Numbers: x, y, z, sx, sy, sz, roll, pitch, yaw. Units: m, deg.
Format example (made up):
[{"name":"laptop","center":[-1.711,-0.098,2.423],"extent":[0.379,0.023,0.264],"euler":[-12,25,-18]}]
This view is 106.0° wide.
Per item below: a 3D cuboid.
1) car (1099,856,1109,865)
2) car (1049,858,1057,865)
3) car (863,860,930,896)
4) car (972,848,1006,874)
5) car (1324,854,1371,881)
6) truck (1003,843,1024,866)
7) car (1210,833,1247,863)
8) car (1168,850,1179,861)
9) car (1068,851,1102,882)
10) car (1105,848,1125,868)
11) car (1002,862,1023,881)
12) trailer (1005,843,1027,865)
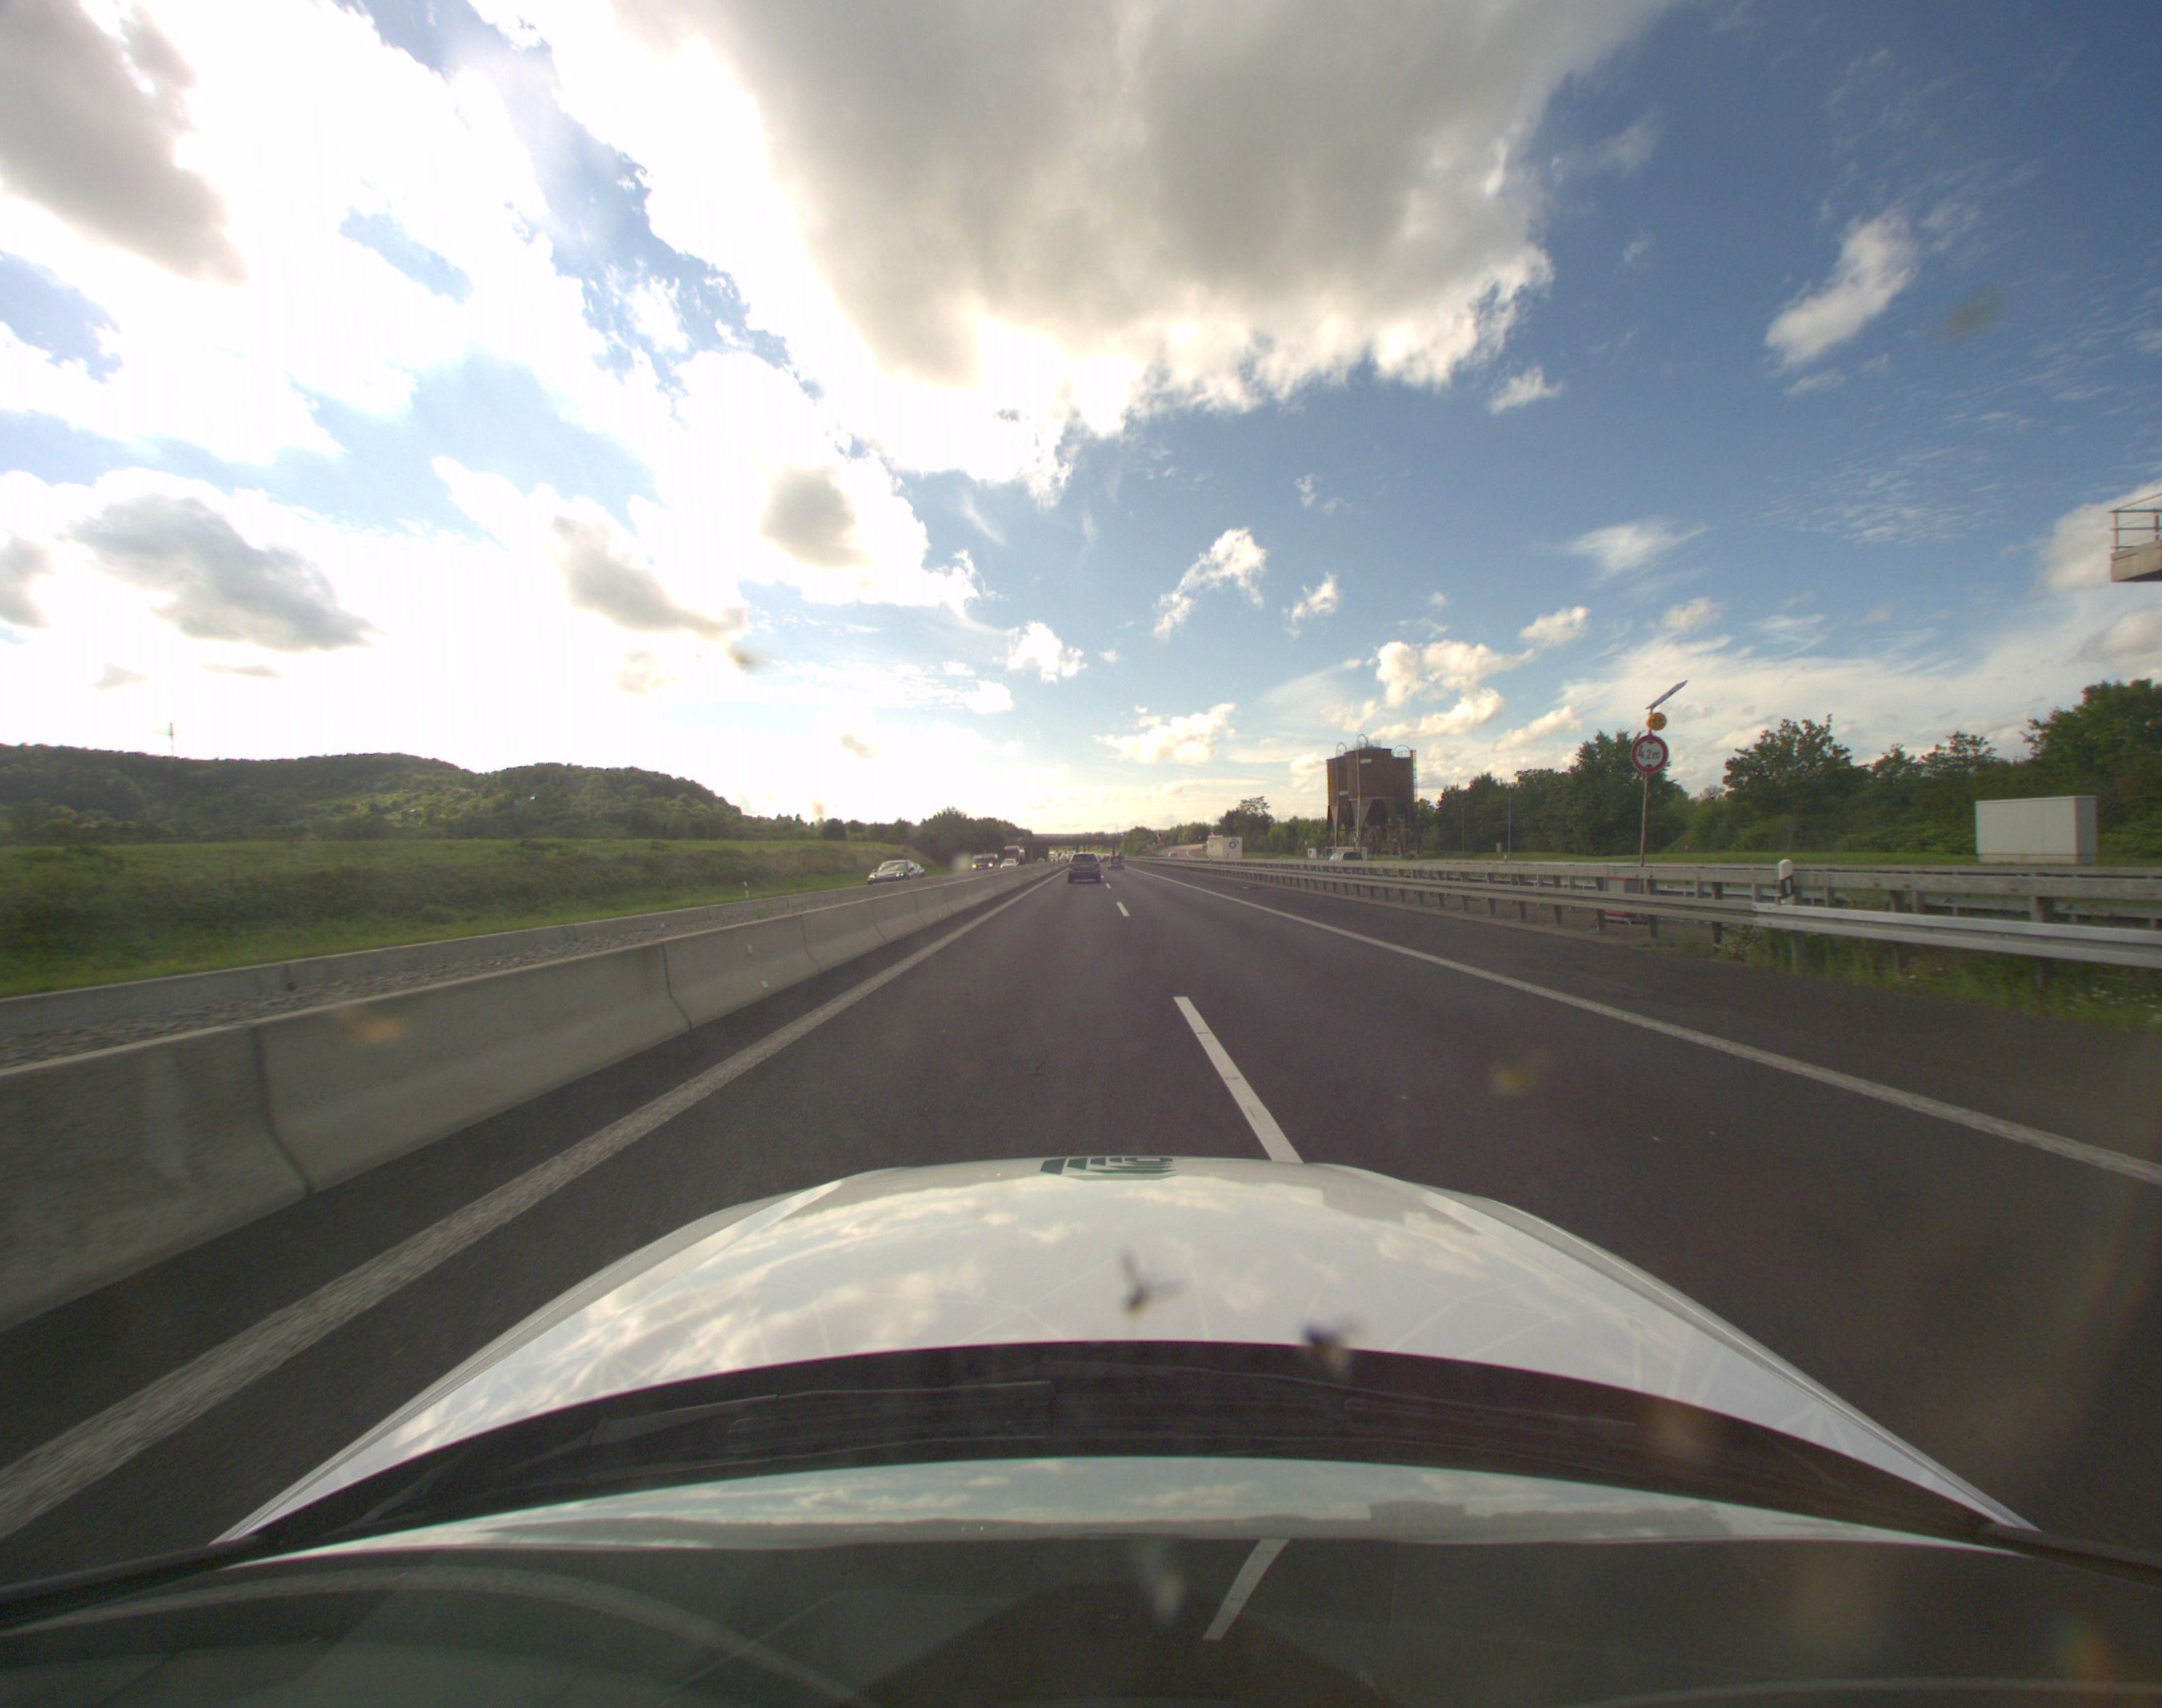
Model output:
[{"name":"car","center":[5.091,1.401,182.168],"extent":[1.968,1.779,4.120],"euler":[-3,0,0]},{"name":"car","center":[-7.548,1.902,216.613],"extent":[1.801,1.832,4.398],"euler":[-3,0,1]},{"name":"car","center":[-9.233,1.172,41.268],"extent":[1.986,1.573,5.366],"euler":[-3,0,1]},{"name":"car","center":[-7.898,0.609,70.370],"extent":[1.986,2.013,5.843],"euler":[-3,0,1]},{"name":"car","center":[18.843,0.953,57.679],"extent":[1.987,1.717,4.000],"euler":[-3,0,1]},{"name":"truck","center":[-12.044,0.085,145.307],"extent":[2.728,3.924,6.903],"euler":[-3,0,2]},{"name":"car","center":[19.924,-0.756,110.383],"extent":[3.564,3.676,7.549],"euler":[-3,0,1]},{"name":"car","center":[17.512,0.264,154.101],"extent":[1.984,2.013,4.005],"euler":[-3,0,5]},{"name":"car","center":[0.263,0.681,46.707],"extent":[1.743,1.630,3.610],"euler":[-3,0,2]},{"name":"car","center":[3.784,0.492,90.381],"extent":[1.987,2.081,4.000],"euler":[-3,0,1]},{"name":"car","center":[-8.140,2.069,97.158],"extent":[1.986,2.013,4.679],"euler":[-2,0,1]},{"name":"trailer","center":[-11.875,0.046,150.043],"extent":[2.703,3.887,11.164],"euler":[-3,0,2]}]
